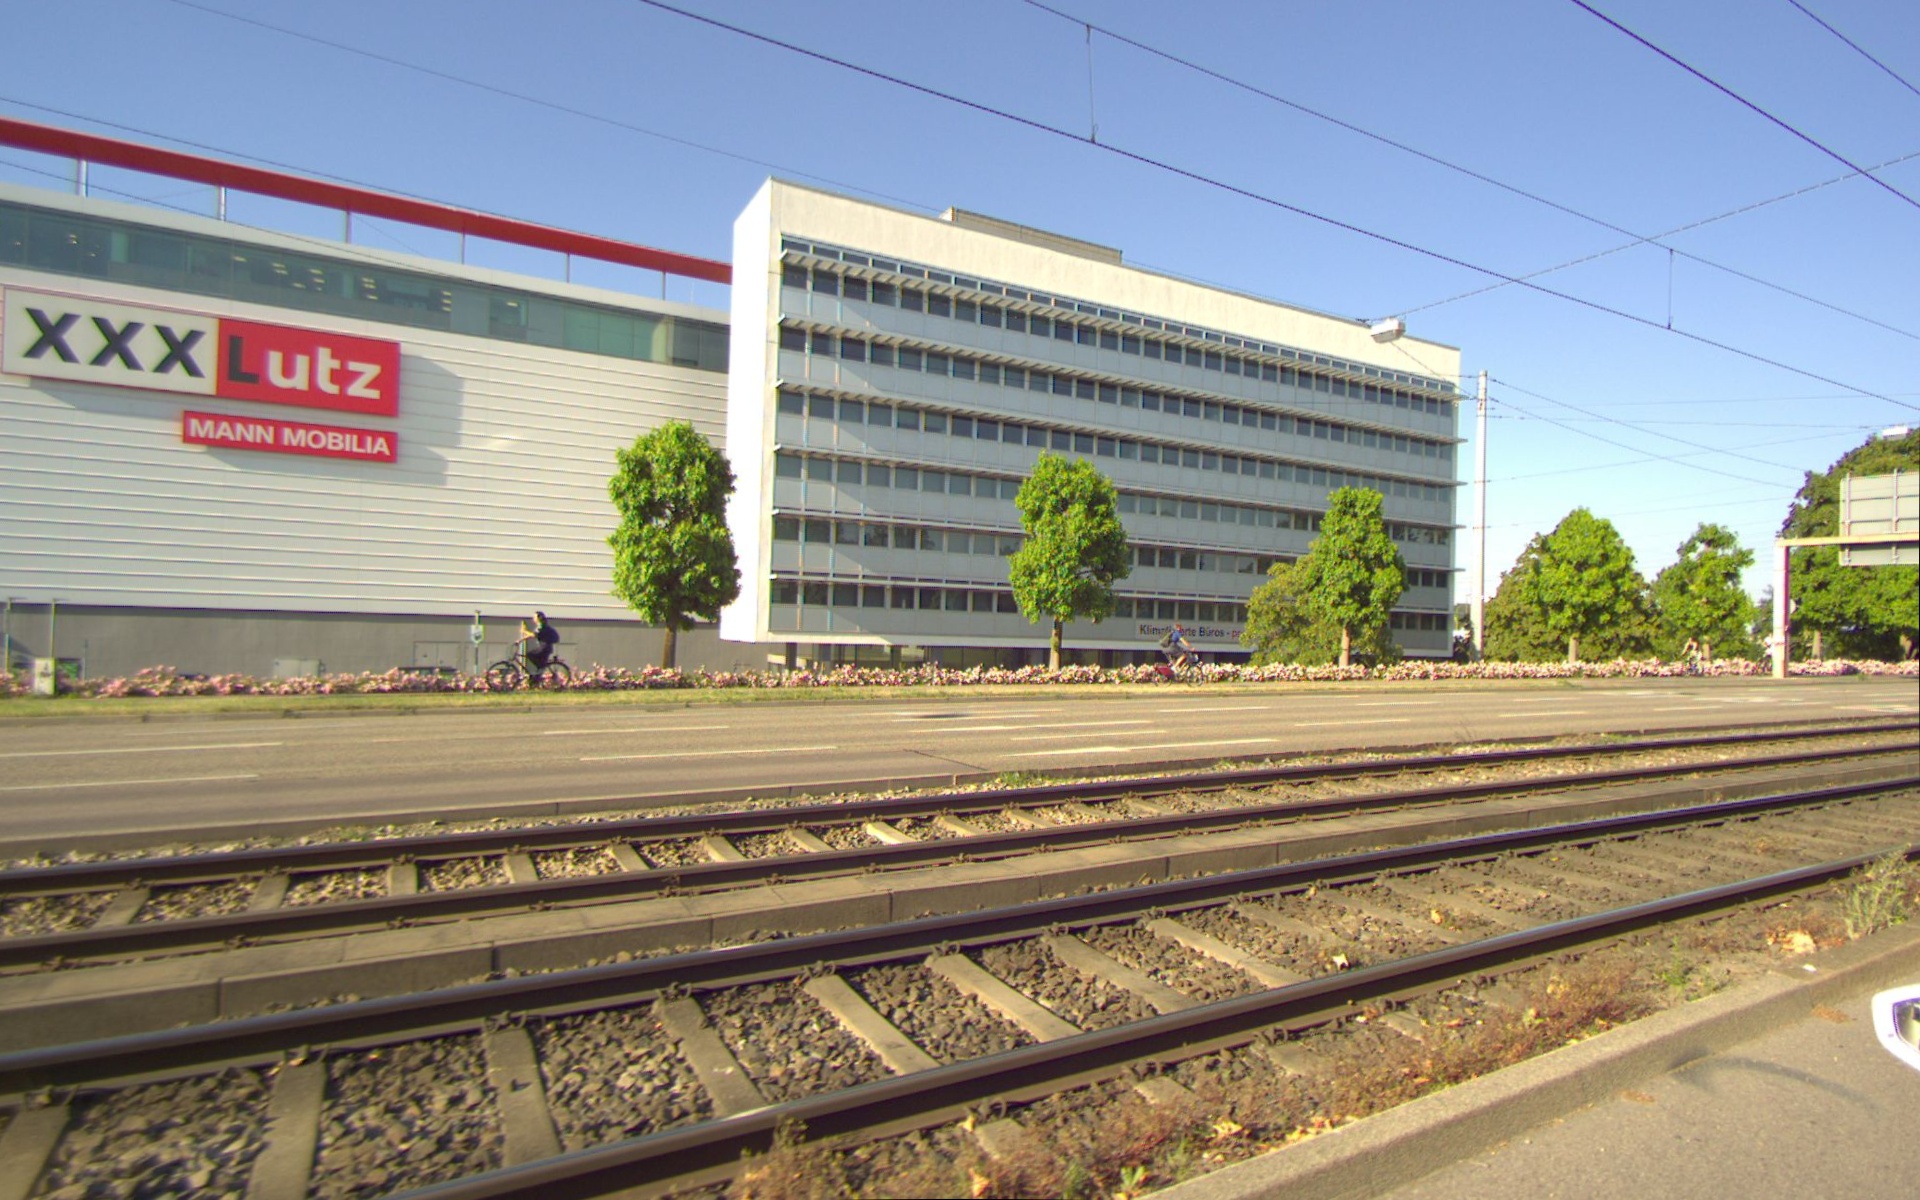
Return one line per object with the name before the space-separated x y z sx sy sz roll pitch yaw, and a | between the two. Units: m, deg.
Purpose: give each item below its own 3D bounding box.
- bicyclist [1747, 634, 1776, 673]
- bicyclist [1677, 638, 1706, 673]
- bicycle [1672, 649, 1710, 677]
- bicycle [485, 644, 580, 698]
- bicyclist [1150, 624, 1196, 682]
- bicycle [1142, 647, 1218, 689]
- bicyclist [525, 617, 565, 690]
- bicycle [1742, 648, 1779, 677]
bicyclist | 35.521 2.375 44.511 0.951 1.681 0.600 1 2 -28
bicyclist | 30.290 2.273 41.596 0.870 1.392 0.622 1 1 -30
bicycle | 30.285 2.604 41.608 1.683 1.073 0.621 1 1 -30
bicycle | -9.951 1.650 23.458 1.992 1.166 0.660 2 1 -21
bicyclist | 5.891 1.466 27.780 0.957 1.532 0.703 2 1 -23
bicycle | 6.103 1.873 27.888 1.999 1.088 0.703 2 1 -24
bicyclist | -9.713 1.253 23.534 0.789 1.645 0.660 2 1 -21
bicycle | 35.436 2.746 44.483 1.727 1.235 0.600 2 1 -28
